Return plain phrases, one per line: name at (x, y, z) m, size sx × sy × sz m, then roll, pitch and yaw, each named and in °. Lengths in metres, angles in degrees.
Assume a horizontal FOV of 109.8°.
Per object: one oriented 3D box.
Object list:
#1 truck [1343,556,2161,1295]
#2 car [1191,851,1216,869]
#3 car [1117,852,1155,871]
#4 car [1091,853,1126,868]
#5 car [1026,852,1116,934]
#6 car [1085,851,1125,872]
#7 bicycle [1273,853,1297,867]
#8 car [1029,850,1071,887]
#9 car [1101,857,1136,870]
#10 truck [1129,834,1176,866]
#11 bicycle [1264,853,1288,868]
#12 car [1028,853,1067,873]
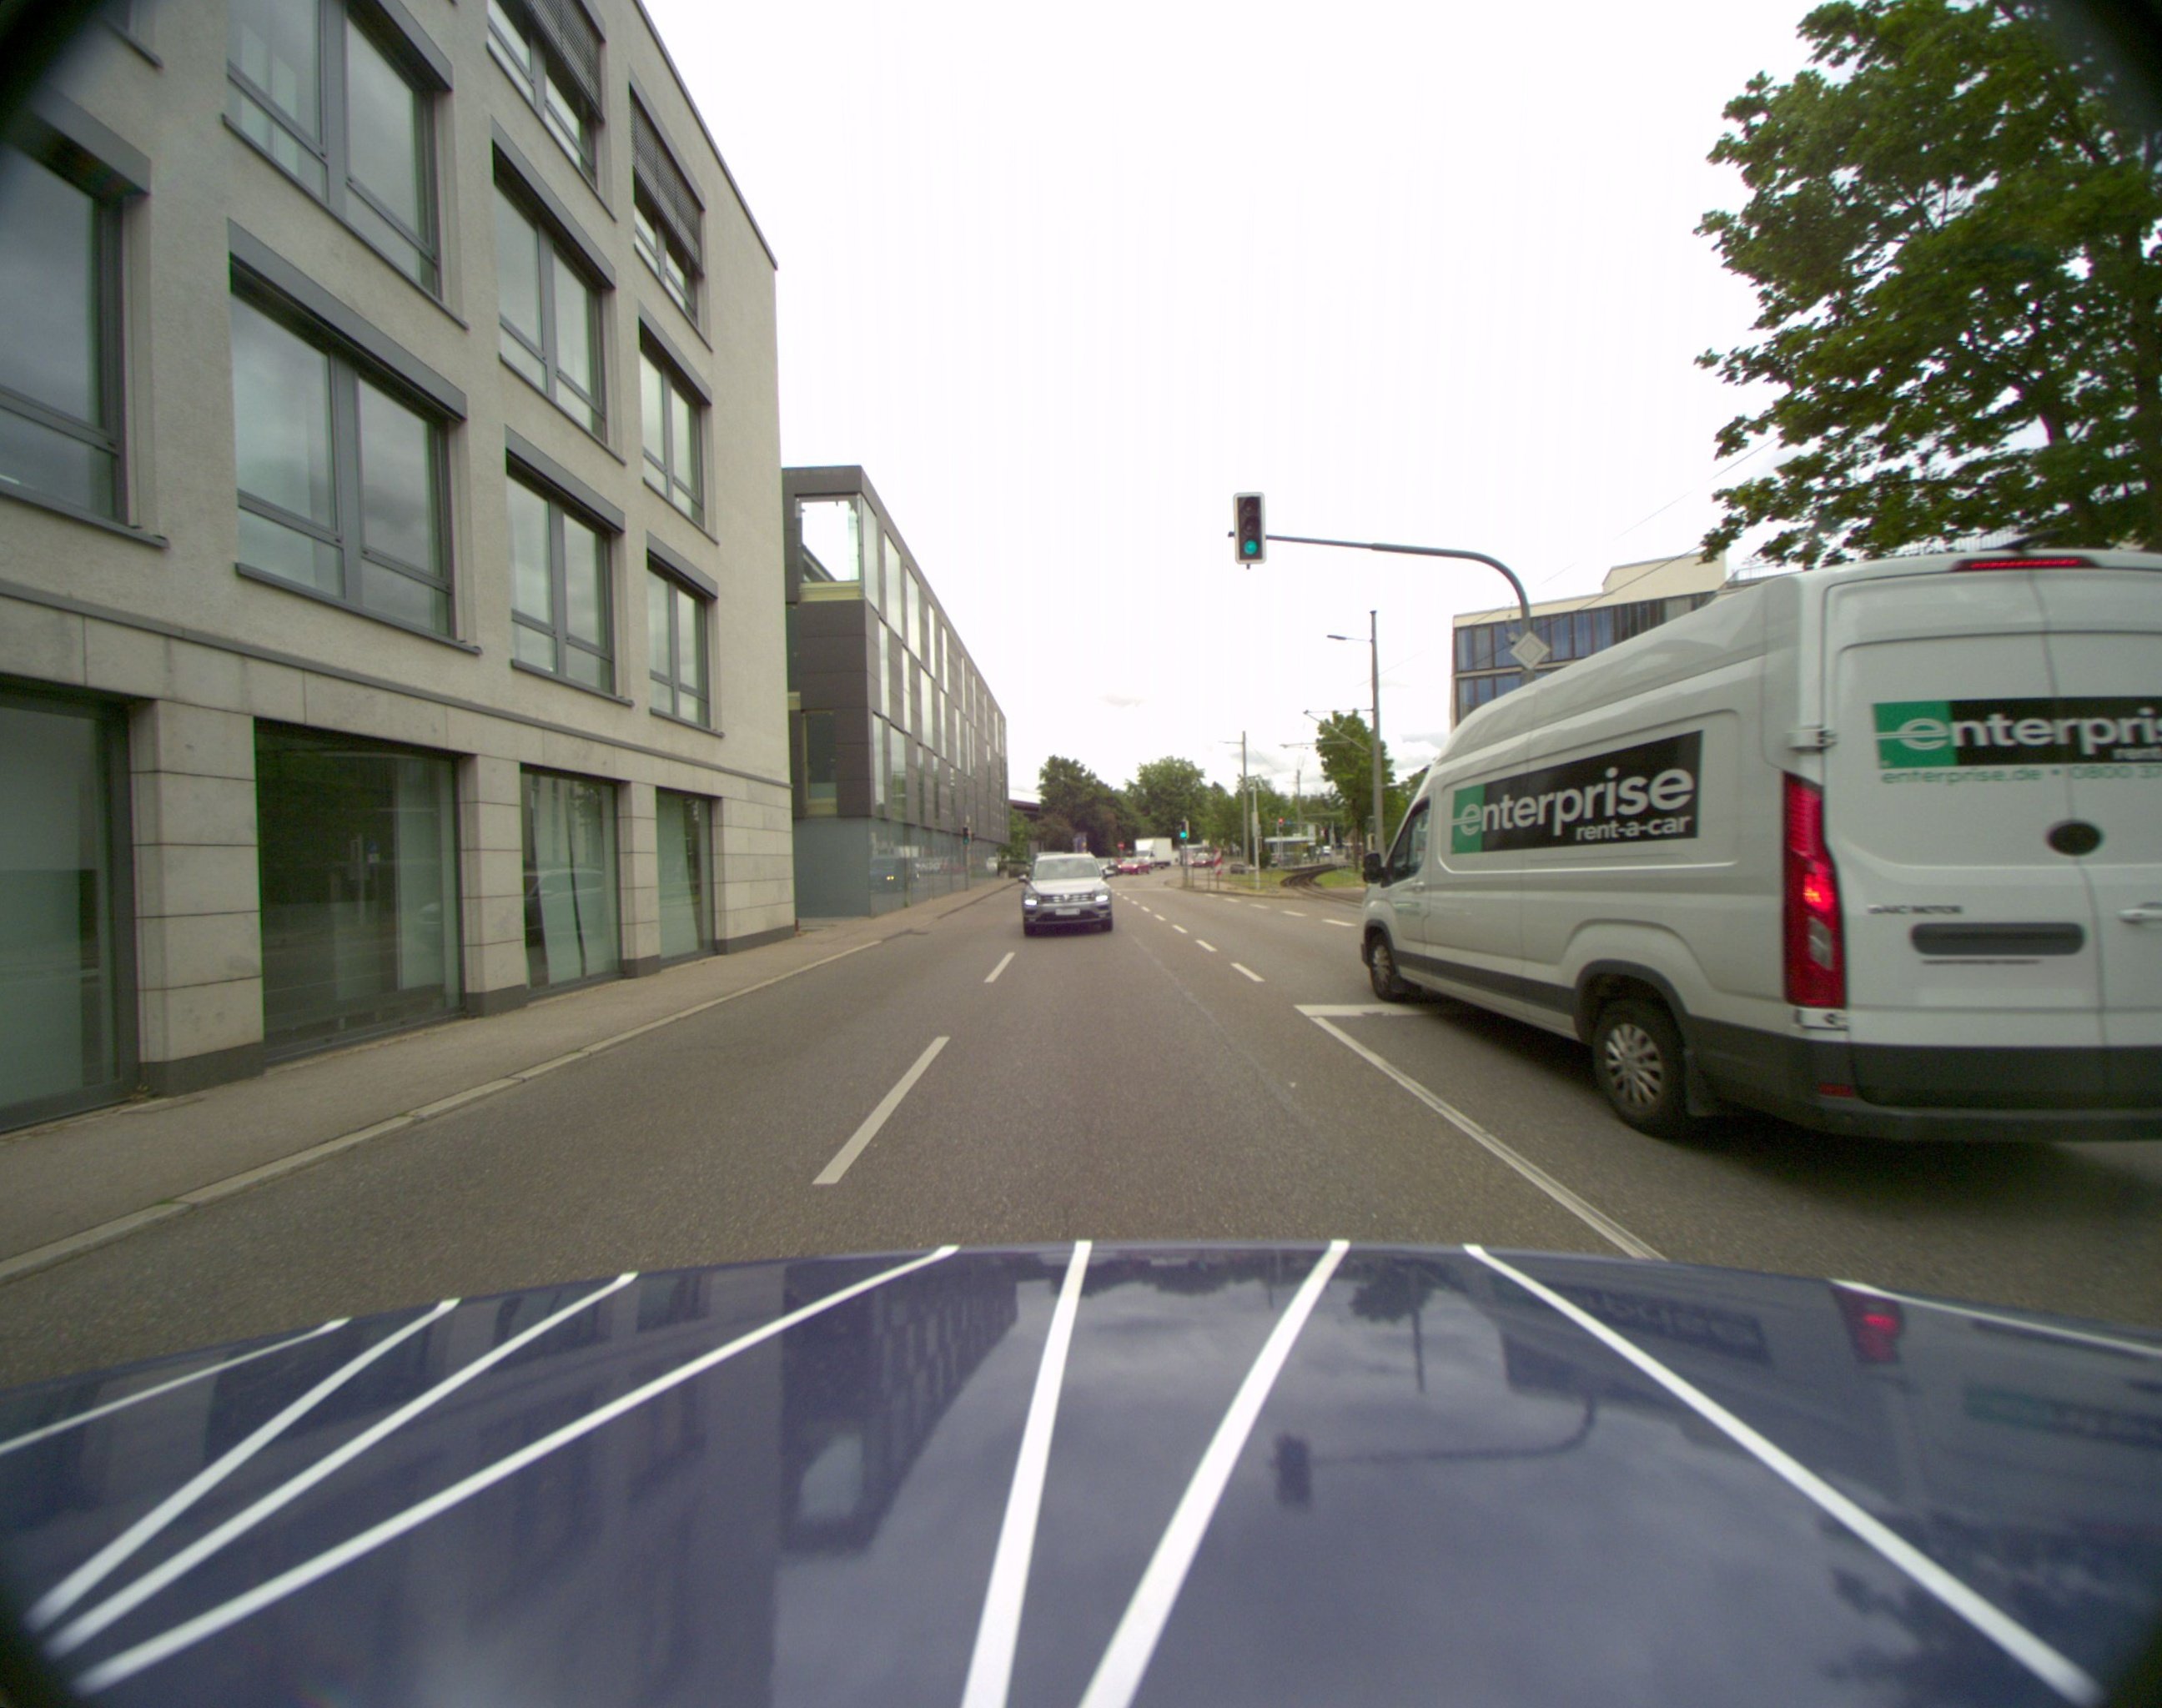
truck at (3.951, 0.253, 5.576) m, size 2.170 × 2.600 × 5.796 m, roll -1°, pitch 0°, yaw 2°
car at (13.973, 0.659, 86.369) m, size 1.847 × 1.850 × 4.264 m, roll -1°, pitch 0°, yaw 22°
car at (4.784, 0.652, 65.129) m, size 1.846 × 1.525 × 4.008 m, roll 0°, pitch 0°, yaw 27°
car at (3.186, 0.779, 87.972) m, size 3.895 × 1.475 × 1.683 m, roll -4°, pitch 0°, yaw 1°
car at (-0.182, 0.796, 17.741) m, size 1.811 × 1.637 × 4.330 m, roll -2°, pitch 0°, yaw 1°
car at (1.905, 0.588, 59.036) m, size 1.847 × 1.525 × 4.006 m, roll -1°, pitch 0°, yaw 22°
bicycle at (15.876, 0.483, 59.176) m, size 1.750 × 1.040 × 0.409 m, roll -3°, pitch 0°, yaw 27°
car at (-1.608, 0.734, 40.731) m, size 1.849 × 1.850 × 4.000 m, roll -2°, pitch 0°, yaw 2°
car at (4.590, 1.172, 92.757) m, size 3.999 × 1.402 × 1.523 m, roll -3°, pitch 0°, yaw -6°
truck at (8.036, -0.489, 84.689) m, size 2.537 × 3.406 × 7.788 m, roll -2°, pitch 1°, yaw 26°
bicycle at (14.810, 0.484, 57.810) m, size 1.707 × 1.082 × 0.408 m, roll -3°, pitch 0°, yaw 13°
car at (-3.248, 0.868, 74.752) m, size 1.853 × 1.747 × 4.730 m, roll -2°, pitch 0°, yaw 25°
